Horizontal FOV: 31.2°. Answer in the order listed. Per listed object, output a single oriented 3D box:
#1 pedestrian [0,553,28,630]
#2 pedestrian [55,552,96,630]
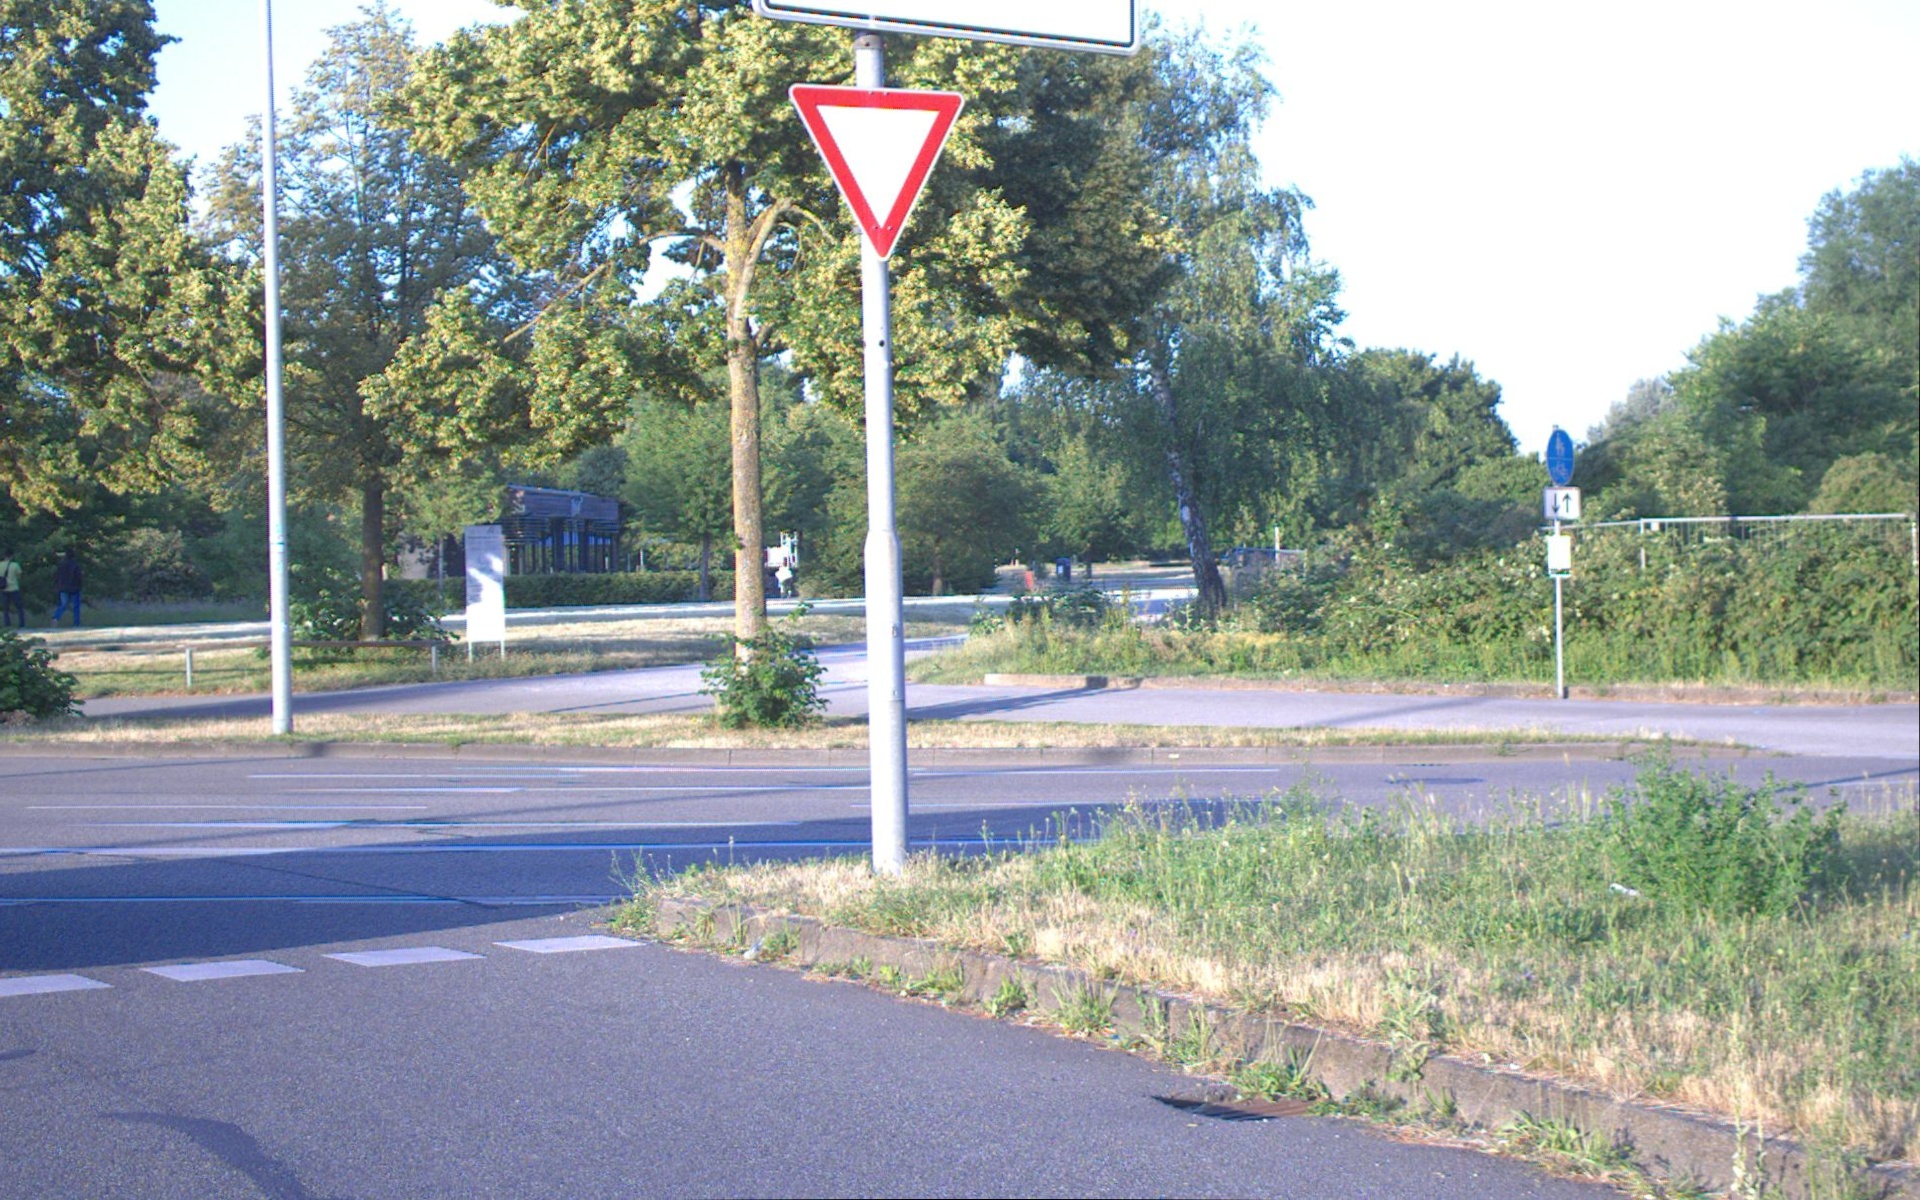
[{"bbox_3d":[-20.150,-0.178,72.839,0.579,1.621,0.533,-2,1,-41],"label":"pedestrian"},{"bbox_3d":[-18.700,-0.192,72.655,0.530,1.621,0.619,-1,1,44],"label":"pedestrian"}]
